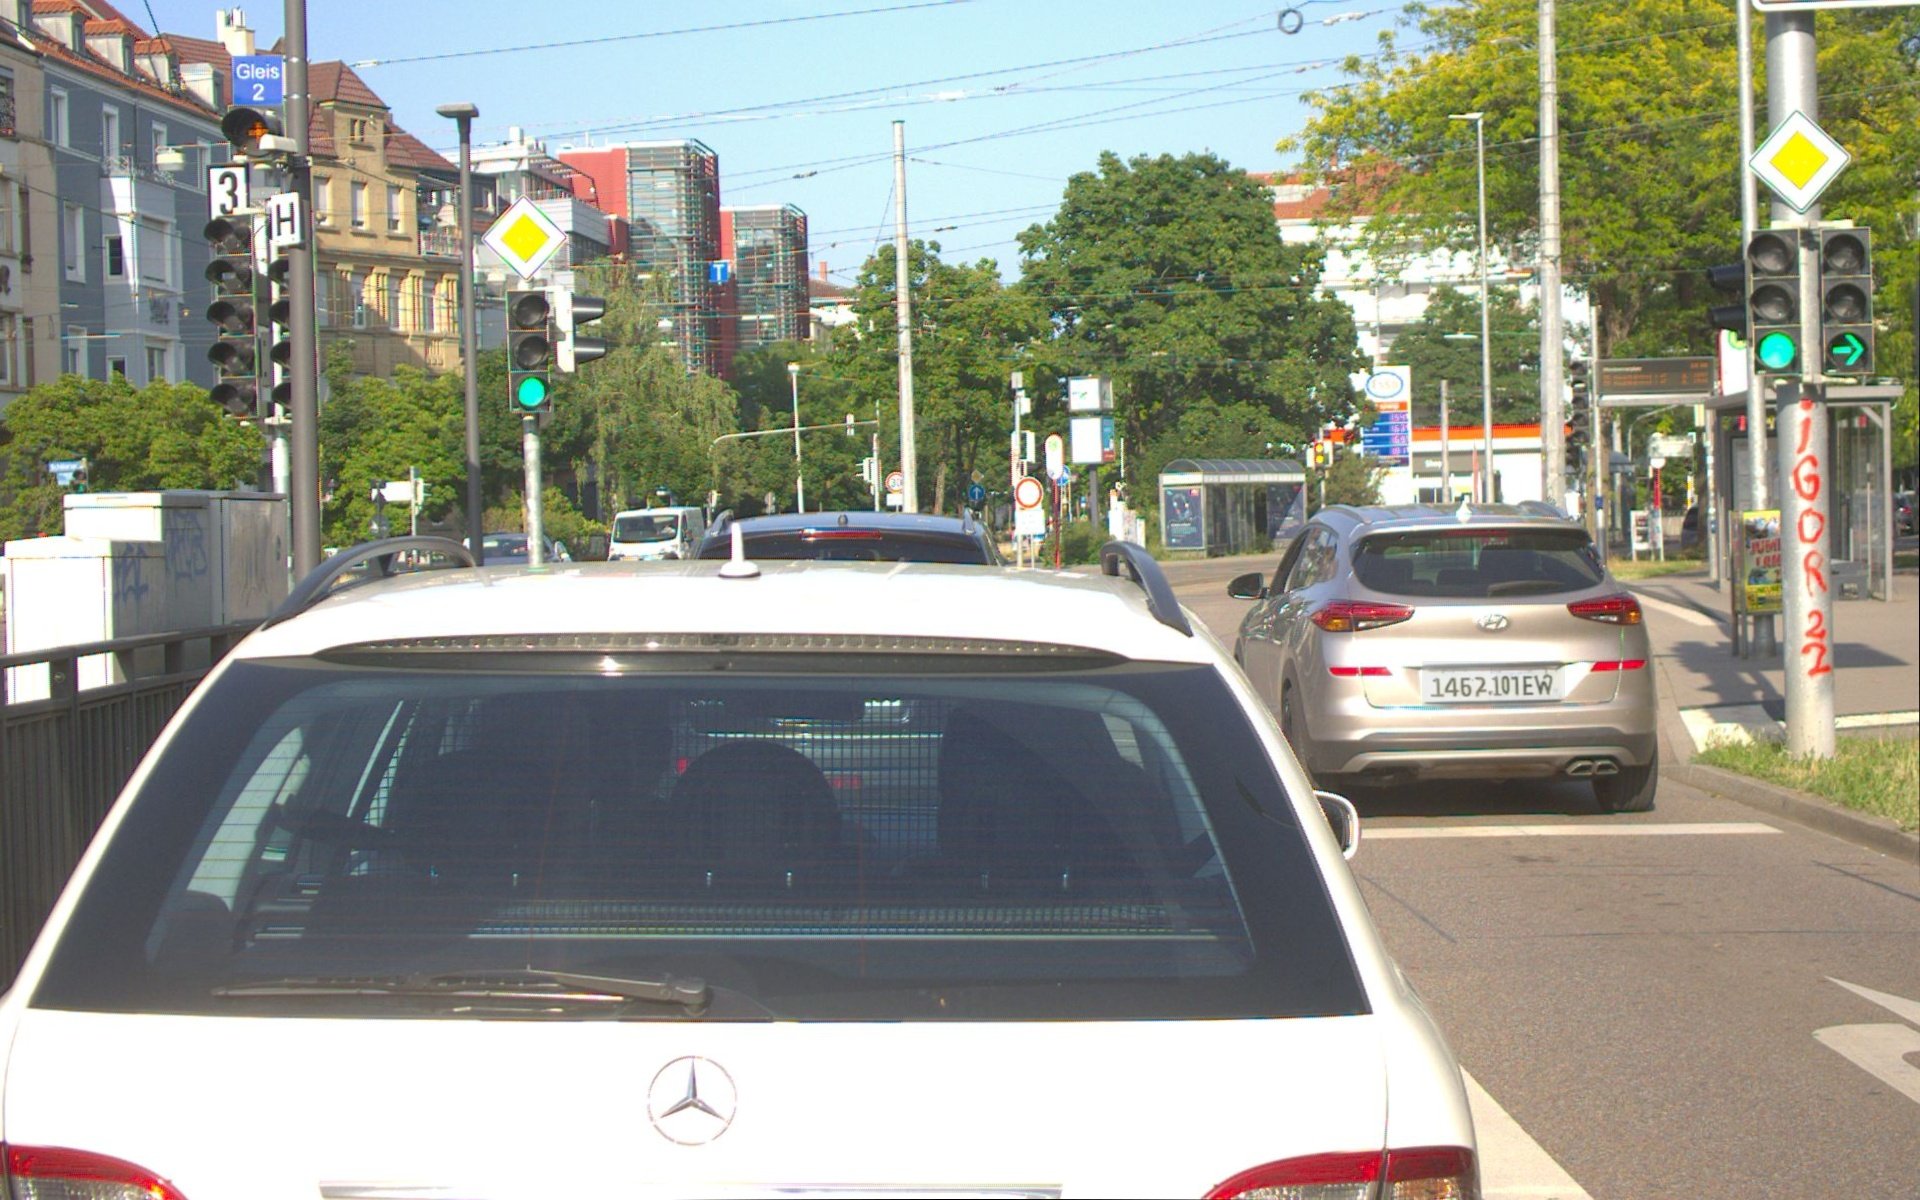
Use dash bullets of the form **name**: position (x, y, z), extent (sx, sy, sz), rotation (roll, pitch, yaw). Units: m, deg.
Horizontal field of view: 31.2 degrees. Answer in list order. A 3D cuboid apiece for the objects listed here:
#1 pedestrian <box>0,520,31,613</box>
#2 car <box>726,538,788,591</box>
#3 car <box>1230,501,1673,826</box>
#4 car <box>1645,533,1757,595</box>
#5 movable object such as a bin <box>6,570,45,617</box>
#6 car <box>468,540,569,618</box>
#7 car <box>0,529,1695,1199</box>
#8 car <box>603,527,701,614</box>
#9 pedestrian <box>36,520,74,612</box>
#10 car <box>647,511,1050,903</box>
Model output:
- **pedestrian**: position (-19.363, -0.689, 70.179), extent (0.584, 1.874, 0.627), rotation (-2, 1, 0)
- **car**: position (-6.612, -1.178, 112.152), extent (1.767, 1.489, 4.745), rotation (-2, 3, -1)
- **car**: position (2.566, 0.270, 18.814), extent (1.835, 1.594, 3.815), rotation (0, 1, -1)
- **car**: position (20.365, -0.999, 94.362), extent (1.856, 1.510, 3.994), rotation (-2, 1, 30)
- **movable object such as a bin**: position (-19.357, -0.140, 71.203), extent (0.583, 0.943, 0.663), rotation (-2, 1, 1)
- **car**: position (-9.743, -0.482, 76.121), extent (1.676, 1.520, 4.125), rotation (-2, 2, 0)
- **car**: position (-0.263, 0.648, 5.082), extent (1.835, 1.496, 3.815), rotation (0, 1, -1)
- **car**: position (-8.407, -0.837, 94.210), extent (2.177, 2.231, 5.254), rotation (-2, 2, 0)
- **pedestrian**: position (-18.543, -0.701, 70.435), extent (0.584, 1.874, 0.627), rotation (-2, 2, -3)
- **car**: position (-0.475, 0.395, 15.915), extent (1.641, 1.594, 3.815), rotation (0, 1, -1)
